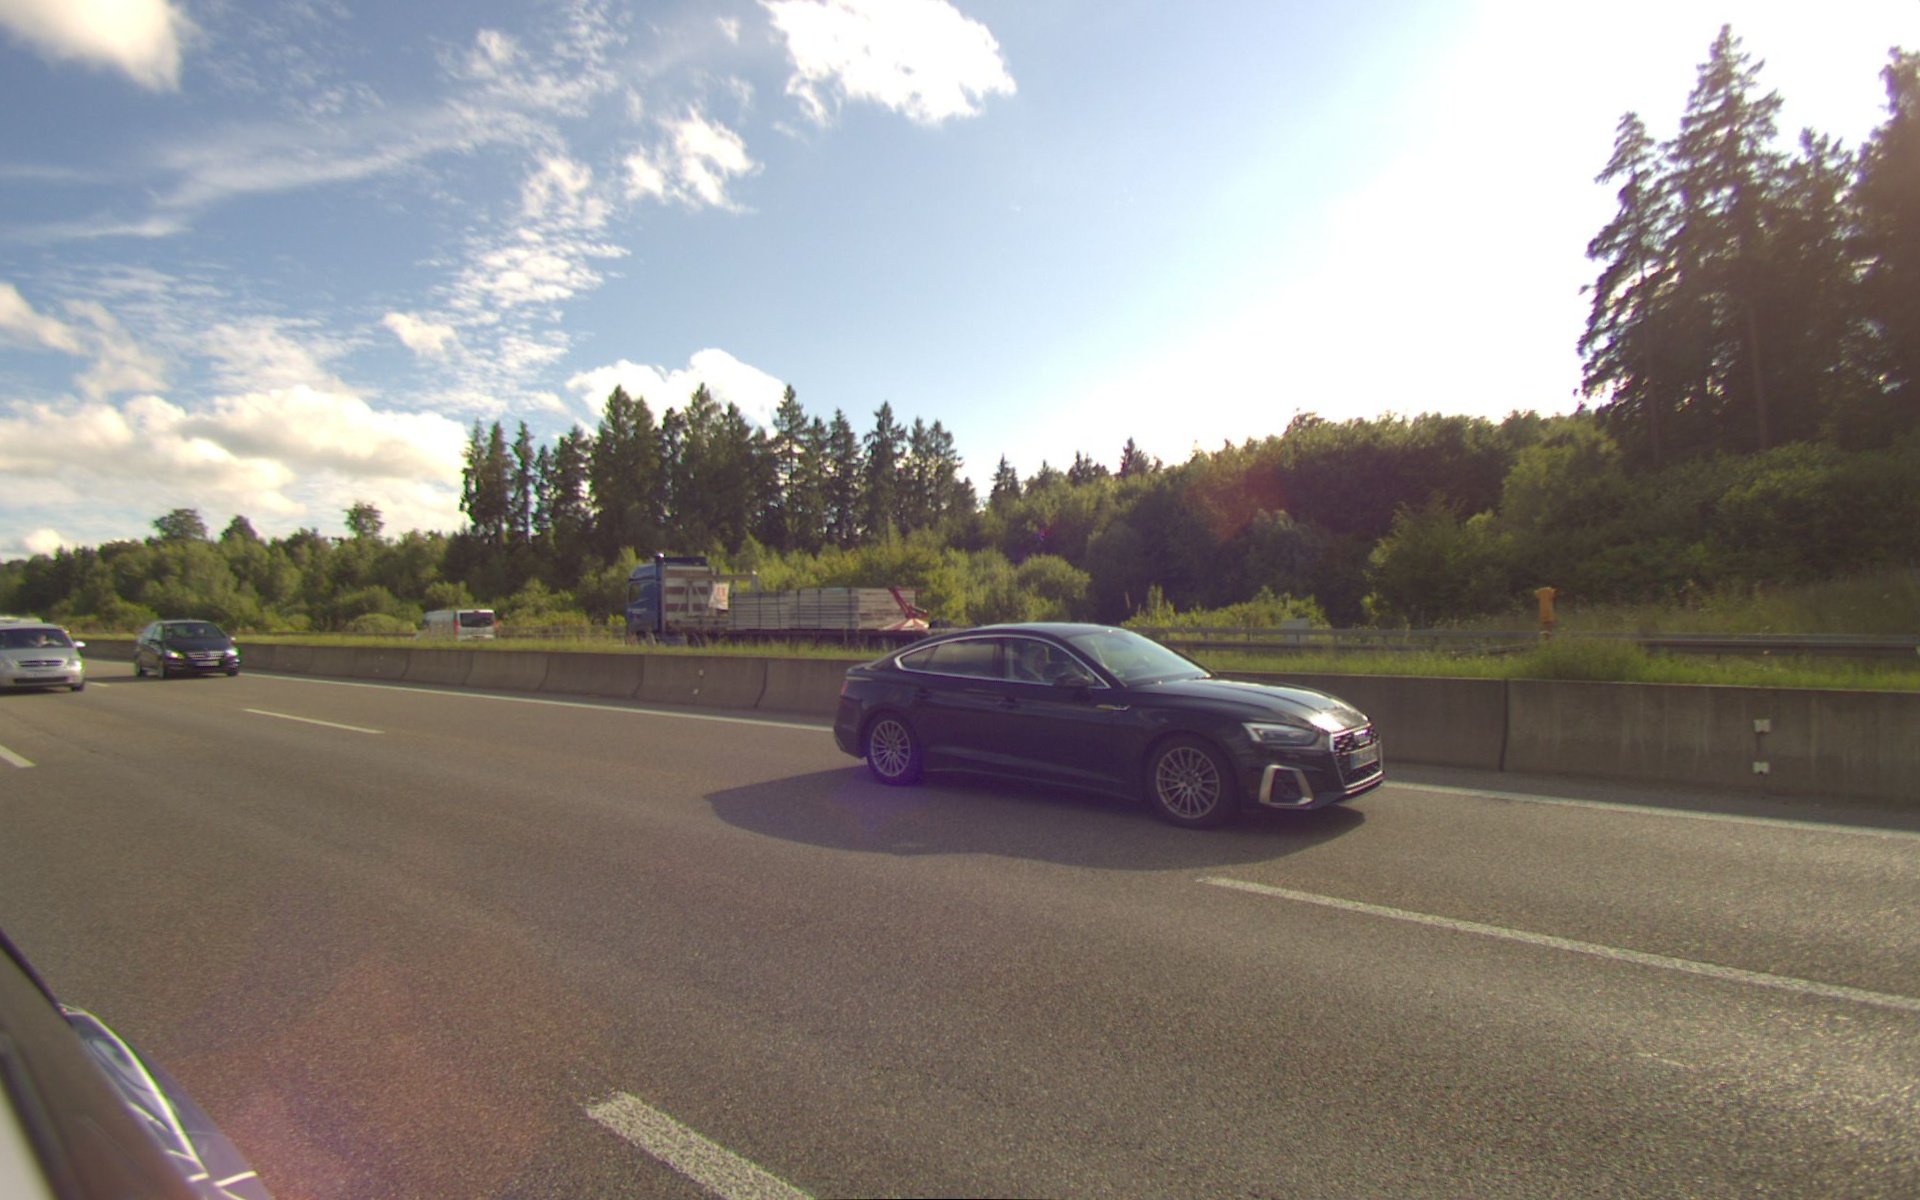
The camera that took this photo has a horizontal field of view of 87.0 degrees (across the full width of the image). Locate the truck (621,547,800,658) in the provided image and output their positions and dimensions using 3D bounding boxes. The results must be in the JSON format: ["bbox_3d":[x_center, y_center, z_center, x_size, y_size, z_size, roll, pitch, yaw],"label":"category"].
[{"bbox_3d":[-9.662,0.179,38.760,7.119,3.867,3.082,-2,-1,41],"label":"truck"}]

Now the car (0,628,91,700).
[{"bbox_3d":[-21.885,1.440,23.662,4.331,1.529,1.816,-2,-1,41],"label":"car"}]

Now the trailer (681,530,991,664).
[{"bbox_3d":[-4.660,0.043,34.396,12.202,3.867,3.092,-2,-1,41],"label":"trailer"}]

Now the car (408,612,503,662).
[{"bbox_3d":[-21.662,1.573,43.389,4.857,2.029,1.973,-2,-1,41],"label":"car"}]

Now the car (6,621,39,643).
[{"bbox_3d":[-107.124,3.647,115.593,5.443,2.292,2.075,-1,1,41],"label":"car"}]

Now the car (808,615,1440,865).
[{"bbox_3d":[1.048,0.882,8.225,4.839,1.442,1.837,-2,-1,41],"label":"car"}]

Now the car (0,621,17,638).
[{"bbox_3d":[-144.539,4.484,152.785,5.841,2.494,2.518,-1,1,41],"label":"car"}]

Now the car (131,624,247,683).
[{"bbox_3d":[-21.943,1.478,28.755,4.331,1.529,1.816,-2,-1,41],"label":"car"}]
